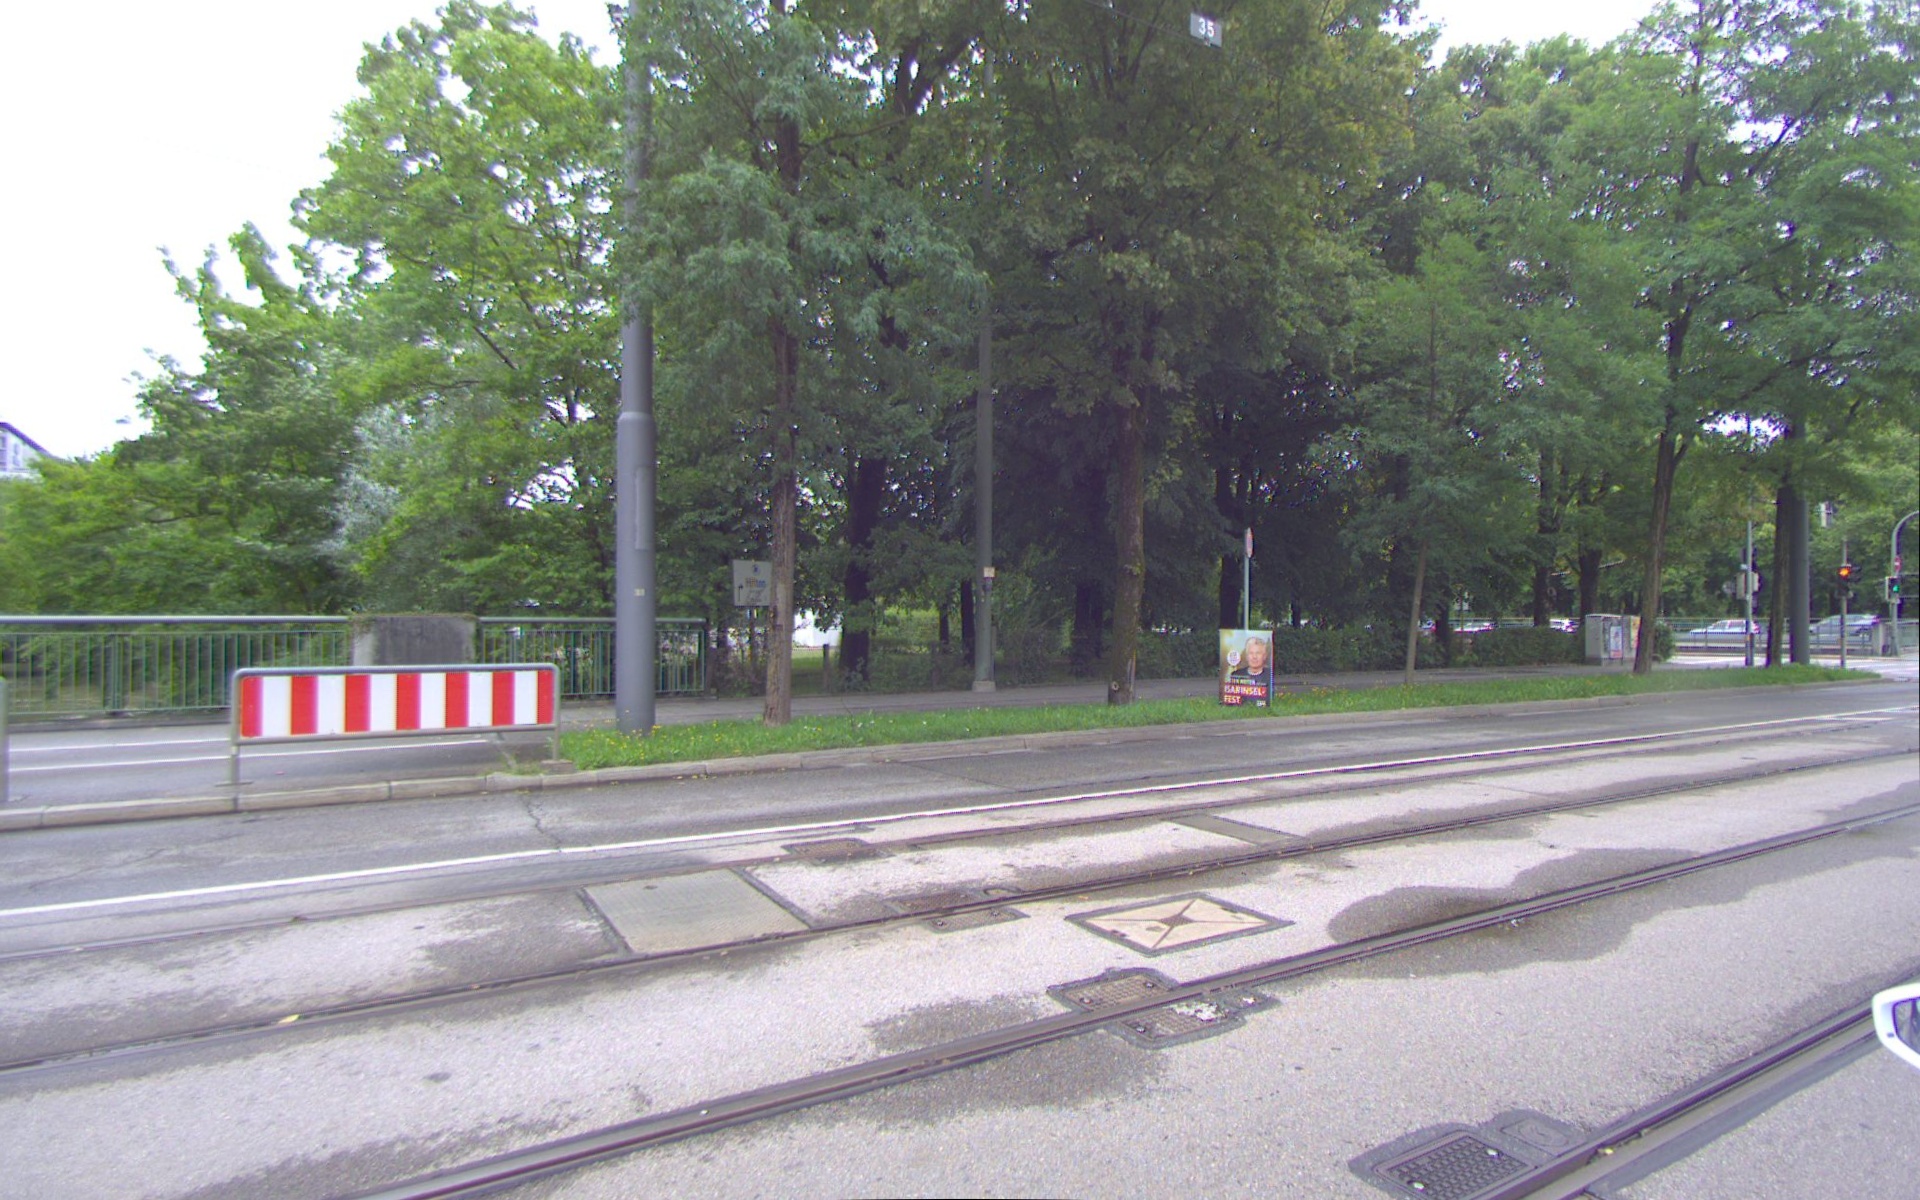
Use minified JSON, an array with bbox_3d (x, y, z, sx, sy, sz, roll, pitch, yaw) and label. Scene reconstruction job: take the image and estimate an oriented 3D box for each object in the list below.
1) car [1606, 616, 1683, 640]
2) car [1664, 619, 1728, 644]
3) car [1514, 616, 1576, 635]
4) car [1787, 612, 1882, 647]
[{"bbox_3d":[46.009,1.846,67.590,1.703,1.423,3.900,1,0,-34],"label":"car"},{"bbox_3d":[47.613,2.019,64.987,1.238,1.471,3.090,1,1,-34],"label":"car"},{"bbox_3d":[42.414,1.862,72.898,1.238,1.201,3.704,1,1,-34],"label":"car"},{"bbox_3d":[51.475,1.712,59.201,1.476,1.912,3.994,1,1,-36],"label":"car"}]
